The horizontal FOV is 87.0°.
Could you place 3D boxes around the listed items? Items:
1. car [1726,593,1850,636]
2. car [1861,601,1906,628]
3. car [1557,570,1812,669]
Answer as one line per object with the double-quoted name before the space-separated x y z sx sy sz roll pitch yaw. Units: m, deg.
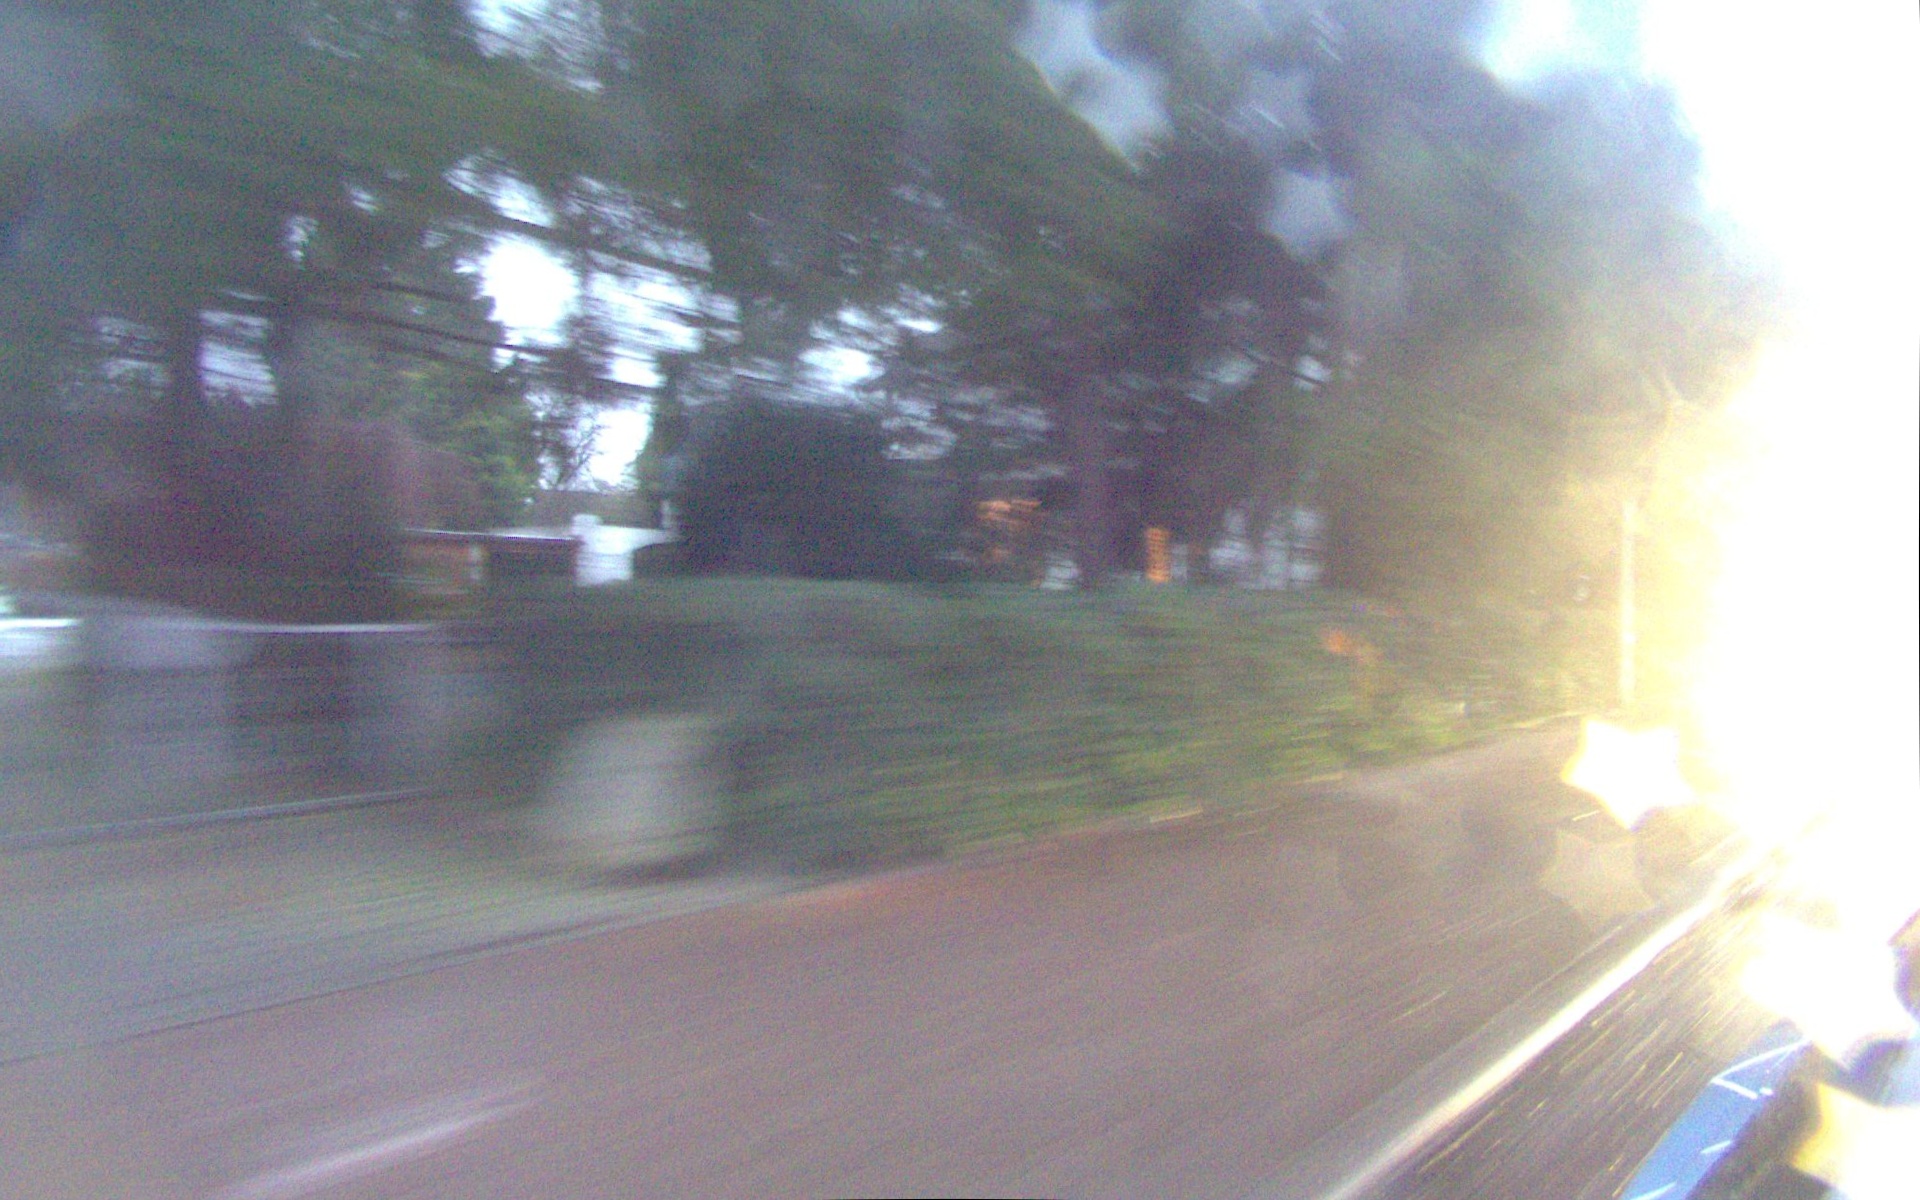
"car" 35.810 0.589 43.869 4.097 1.727 1.971 1 1 40
"car" 60.156 0.926 65.964 1.767 1.638 3.821 0 0 37
"car" 15.879 0.353 22.296 4.321 1.753 1.970 5 3 41
